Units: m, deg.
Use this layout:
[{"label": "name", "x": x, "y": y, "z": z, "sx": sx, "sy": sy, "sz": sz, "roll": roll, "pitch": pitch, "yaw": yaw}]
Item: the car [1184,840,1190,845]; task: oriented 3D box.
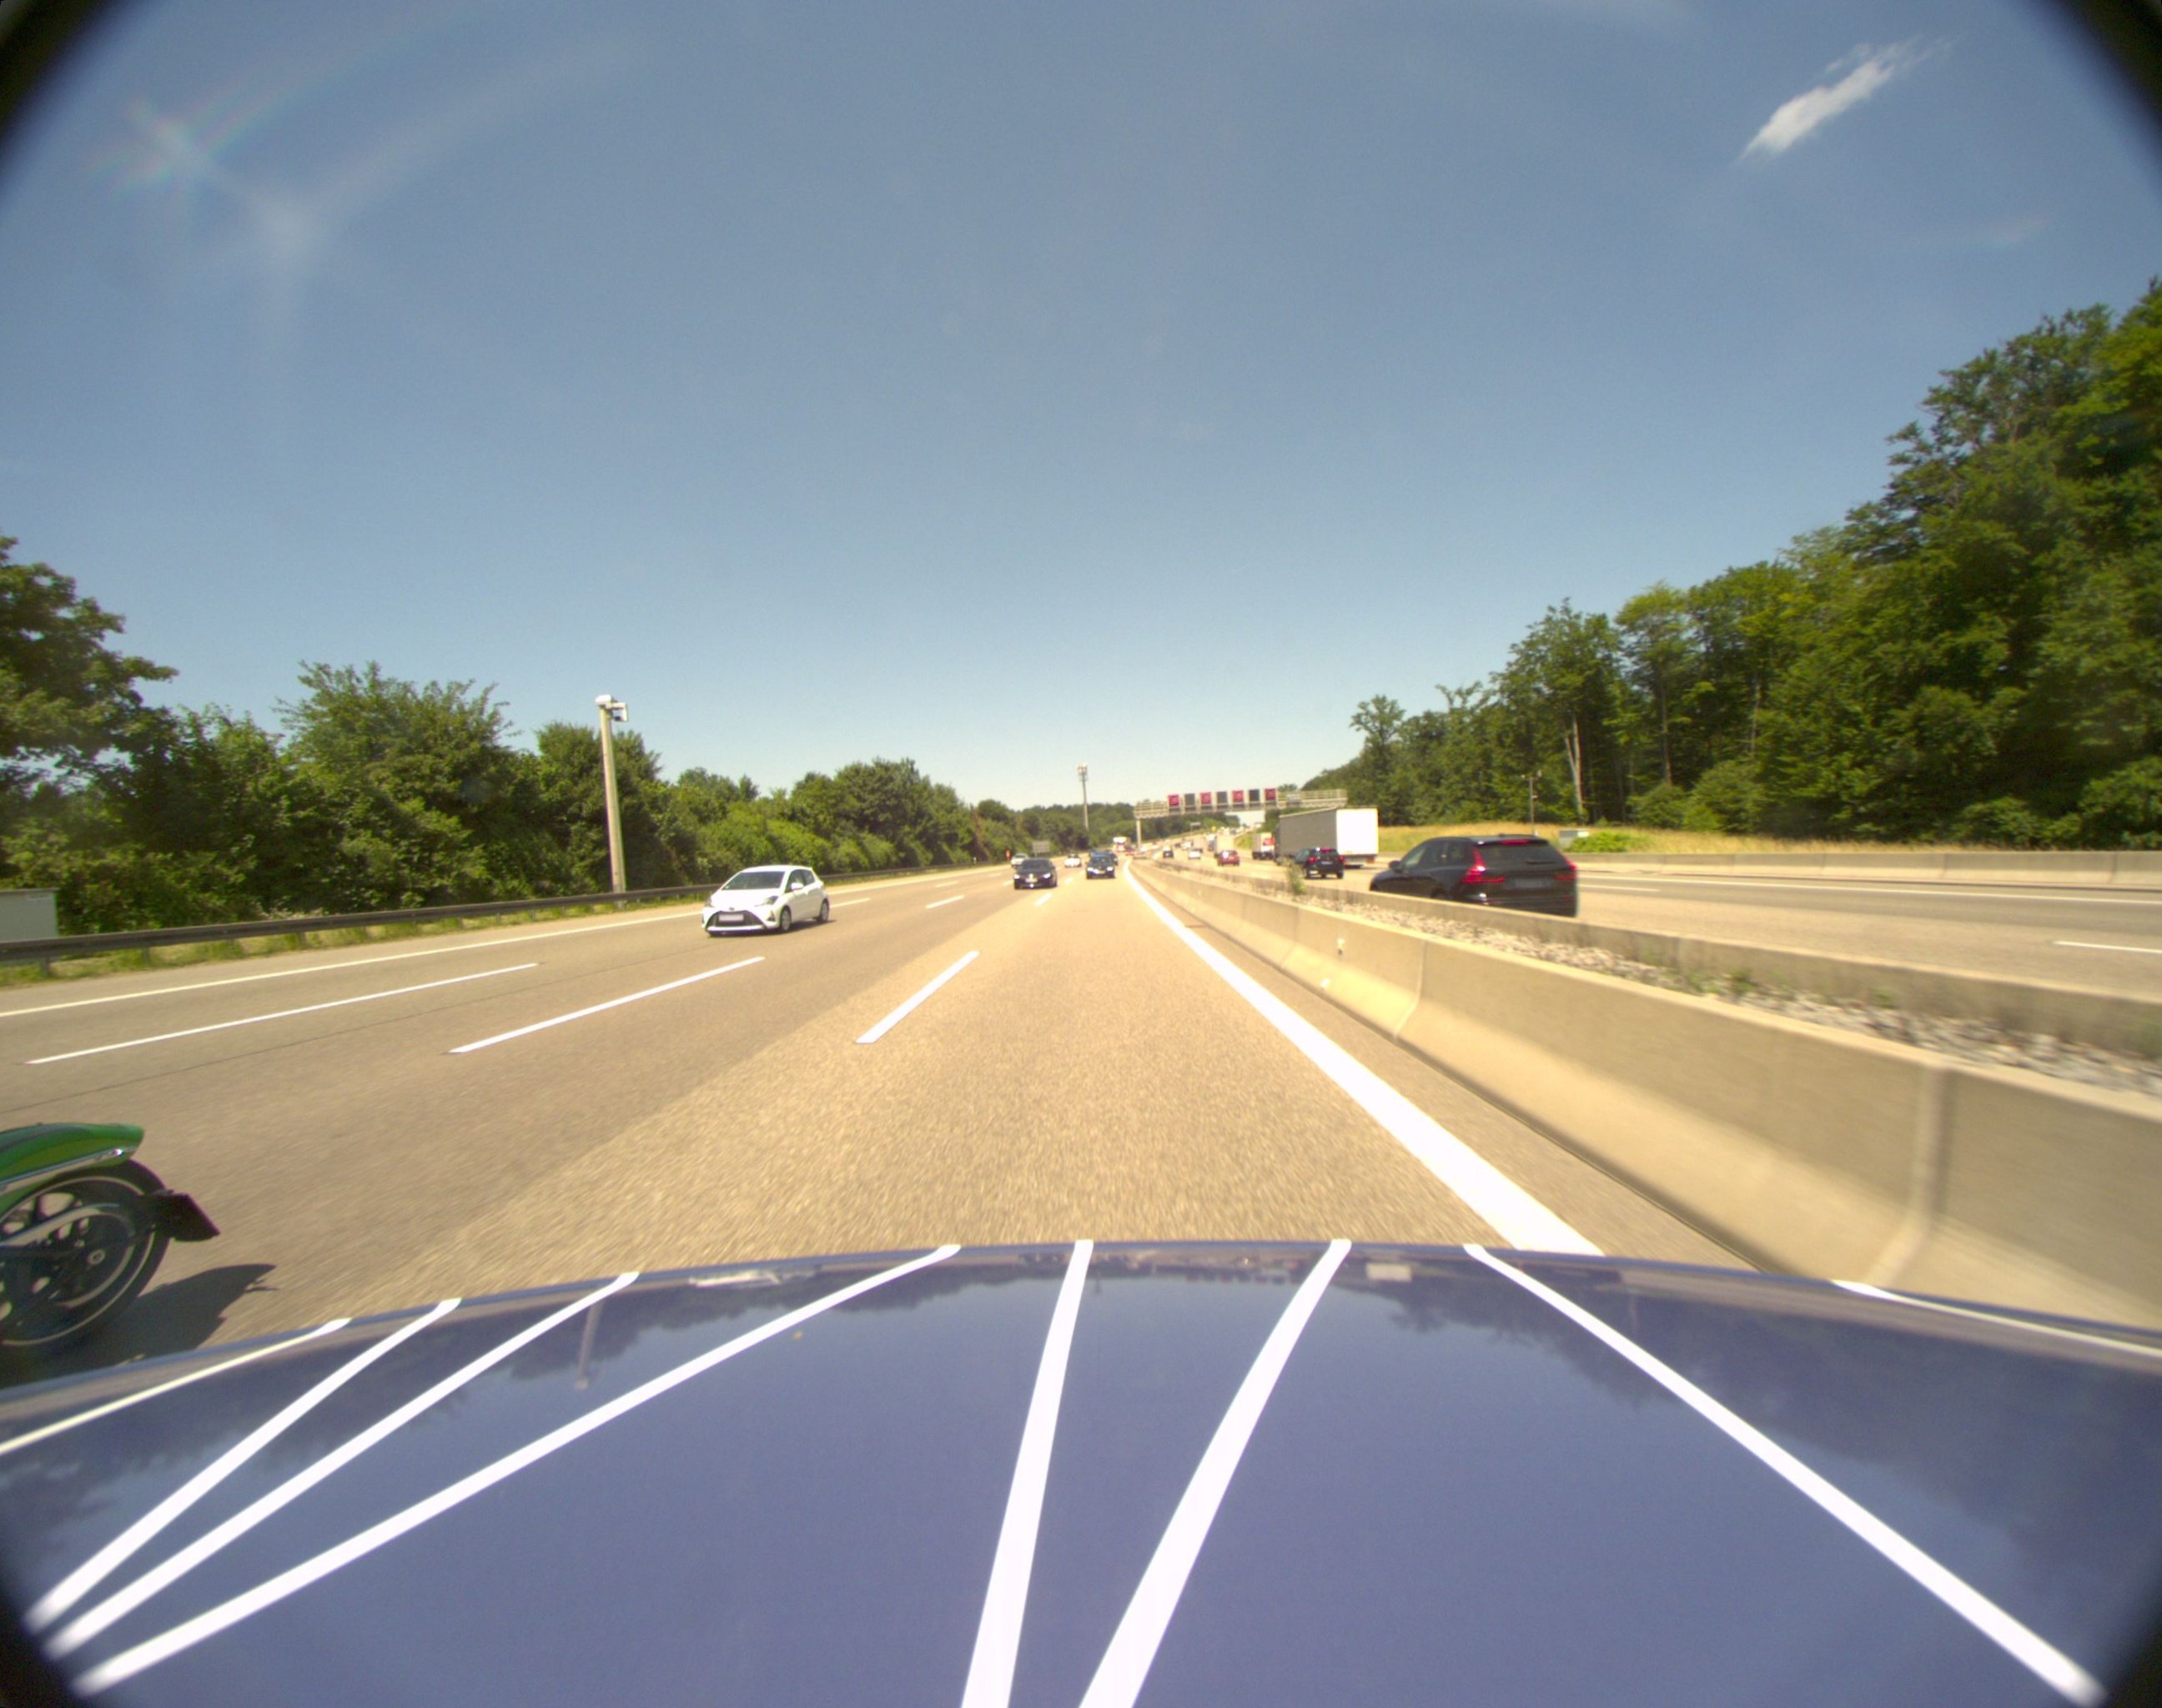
[{"label": "car", "x": 30.093, "y": -3.306, "z": 215.853, "sx": 1.704, "sy": 1.394, "sz": 4.352, "roll": -3, "pitch": 2, "yaw": 8}]

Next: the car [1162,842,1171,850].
[{"label": "car", "x": 20.000, "y": -1.899, "z": 177.840, "sx": 1.992, "sy": 1.727, "sz": 5.345, "roll": -3, "pitch": 1, "yaw": 4}]

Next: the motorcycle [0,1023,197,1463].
[{"label": "motorcycle", "x": -3.387, "y": 1.143, "z": 1.353, "sx": 0.537, "sy": 1.129, "sz": 2.438, "roll": -1, "pitch": 0, "yaw": 7}]

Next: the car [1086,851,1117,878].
[{"label": "car", "x": 1.301, "y": 0.635, "z": 47.416, "sx": 1.769, "sy": 1.495, "sz": 4.001, "roll": -3, "pitch": 0, "yaw": 2}]

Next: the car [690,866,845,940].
[{"label": "car", "x": -7.242, "y": 1.084, "z": 18.102, "sx": 1.754, "sy": 1.509, "sz": 4.485, "roll": -1, "pitch": -2, "yaw": 1}]

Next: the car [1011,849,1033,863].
[{"label": "car", "x": -7.155, "y": 0.211, "z": 92.726, "sx": 1.998, "sy": 1.521, "sz": 4.000, "roll": -2, "pitch": 1, "yaw": 4}]

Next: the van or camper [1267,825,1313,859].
[{"label": "van or camper", "x": 21.162, "y": -1.302, "z": 77.360, "sx": 2.771, "sy": 3.107, "sz": 8.093, "roll": -3, "pitch": 2, "yaw": 3}]

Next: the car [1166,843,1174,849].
[{"label": "car", "x": 23.467, "y": -2.135, "z": 200.379, "sx": 2.052, "sy": 1.434, "sz": 5.221, "roll": -2, "pitch": 1, "yaw": 5}]

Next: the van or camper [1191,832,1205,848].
[{"label": "van or camper", "x": 27.167, "y": -3.261, "z": 177.151, "sx": 2.436, "sy": 3.657, "sz": 7.759, "roll": -2, "pitch": 1, "yaw": 3}]

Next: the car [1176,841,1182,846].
[{"label": "car", "x": 33.434, "y": -3.561, "z": 258.494, "sx": 1.830, "sy": 1.653, "sz": 4.917, "roll": -3, "pitch": 2, "yaw": 7}]

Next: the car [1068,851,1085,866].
[{"label": "car", "x": -0.515, "y": 0.458, "z": 84.794, "sx": 1.729, "sy": 1.521, "sz": 3.741, "roll": -3, "pitch": 1, "yaw": 1}]

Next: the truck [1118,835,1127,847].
[{"label": "truck", "x": 12.161, "y": -3.779, "z": 223.594, "sx": 2.434, "sy": 3.458, "sz": 7.022, "roll": -3, "pitch": 1, "yaw": 3}]

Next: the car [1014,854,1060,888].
[{"label": "car", "x": -2.059, "y": 0.786, "z": 36.806, "sx": 1.760, "sy": 1.431, "sz": 4.000, "roll": -2, "pitch": 1, "yaw": 3}]

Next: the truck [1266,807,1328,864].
[{"label": "truck", "x": 17.381, "y": -1.465, "z": 61.612, "sx": 2.884, "sy": 4.265, "sz": 6.451, "roll": -2, "pitch": 1, "yaw": -2}]

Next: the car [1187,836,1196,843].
[{"label": "car", "x": 35.837, "y": -4.791, "z": 246.848, "sx": 2.200, "sy": 2.044, "sz": 7.142, "roll": -2, "pitch": 1, "yaw": 5}]

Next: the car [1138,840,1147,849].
[{"label": "car", "x": 16.791, "y": -2.655, "z": 207.633, "sx": 2.233, "sy": 2.372, "sz": 4.162, "roll": -3, "pitch": 2, "yaw": 4}]

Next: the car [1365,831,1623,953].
[{"label": "car", "x": 6.659, "y": 0.523, "z": 12.948, "sx": 1.998, "sy": 1.658, "sz": 4.434, "roll": -2, "pitch": 0, "yaw": 1}]

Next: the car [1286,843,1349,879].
[{"label": "car", "x": 11.587, "y": 0.279, "z": 37.569, "sx": 1.765, "sy": 1.512, "sz": 4.361, "roll": -3, "pitch": 2, "yaw": 1}]

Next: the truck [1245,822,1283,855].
[{"label": "truck", "x": 22.247, "y": -1.917, "z": 92.737, "sx": 2.876, "sy": 3.676, "sz": 9.240, "roll": -3, "pitch": 2, "yaw": 4}]

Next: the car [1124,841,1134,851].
[{"label": "car", "x": 10.452, "y": -1.748, "z": 165.715, "sx": 1.998, "sy": 2.002, "sz": 4.001, "roll": -3, "pitch": 0, "yaw": 3}]

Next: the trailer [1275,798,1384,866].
[{"label": "trailer", "x": 17.532, "y": -1.453, "z": 55.151, "sx": 2.872, "sy": 4.238, "sz": 13.956, "roll": -2, "pitch": 1, "yaw": -2}]

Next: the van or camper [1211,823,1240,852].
[{"label": "van or camper", "x": 20.529, "y": -2.345, "z": 108.433, "sx": 2.836, "sy": 3.817, "sz": 8.214, "roll": -3, "pitch": 2, "yaw": 4}]

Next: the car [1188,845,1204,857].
[{"label": "car", "x": 16.521, "y": -0.456, "z": 109.520, "sx": 1.744, "sy": 1.752, "sz": 5.119, "roll": -2, "pitch": 1, "yaw": 3}]

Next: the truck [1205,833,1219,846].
[{"label": "truck", "x": 33.286, "y": -3.780, "z": 193.202, "sx": 2.857, "sy": 2.976, "sz": 5.846, "roll": -3, "pitch": 2, "yaw": 5}]

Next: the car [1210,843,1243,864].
[{"label": "car", "x": 13.281, "y": -0.070, "z": 69.632, "sx": 2.292, "sy": 1.718, "sz": 5.031, "roll": -2, "pitch": 1, "yaw": 3}]

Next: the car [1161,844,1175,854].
[{"label": "car", "x": 14.316, "y": -0.825, "z": 125.459, "sx": 1.998, "sy": 1.581, "sz": 4.845, "roll": -2, "pitch": 1, "yaw": 4}]
